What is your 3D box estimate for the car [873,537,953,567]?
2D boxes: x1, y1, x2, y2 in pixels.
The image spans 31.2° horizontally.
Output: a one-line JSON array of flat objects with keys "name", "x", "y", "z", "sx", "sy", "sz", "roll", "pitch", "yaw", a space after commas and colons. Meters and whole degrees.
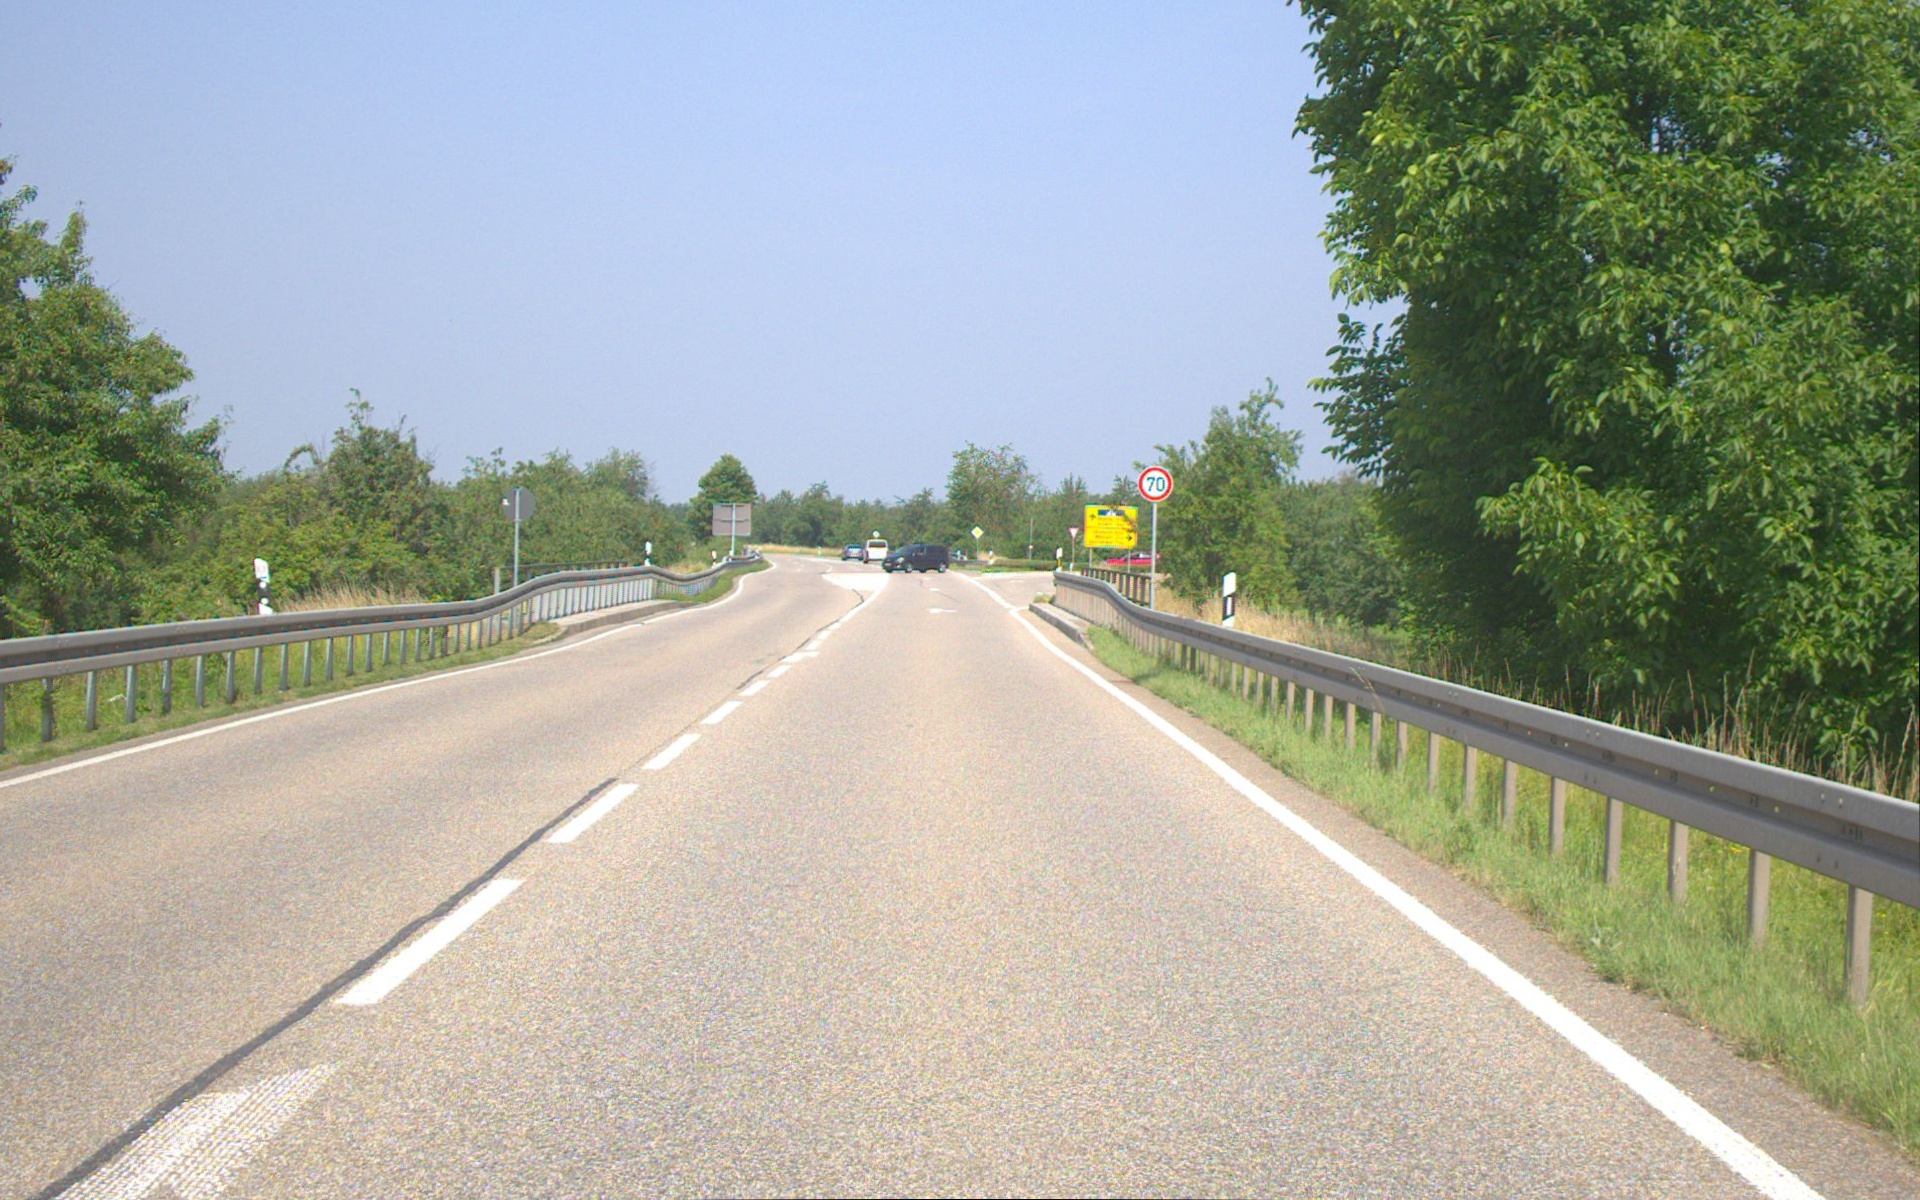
[{"name": "car", "x": -2.653, "y": -2.743, "z": 195.827, "sx": 1.808, "sy": 1.632, "sz": 4.798, "roll": 1, "pitch": 1, "yaw": 41}]
